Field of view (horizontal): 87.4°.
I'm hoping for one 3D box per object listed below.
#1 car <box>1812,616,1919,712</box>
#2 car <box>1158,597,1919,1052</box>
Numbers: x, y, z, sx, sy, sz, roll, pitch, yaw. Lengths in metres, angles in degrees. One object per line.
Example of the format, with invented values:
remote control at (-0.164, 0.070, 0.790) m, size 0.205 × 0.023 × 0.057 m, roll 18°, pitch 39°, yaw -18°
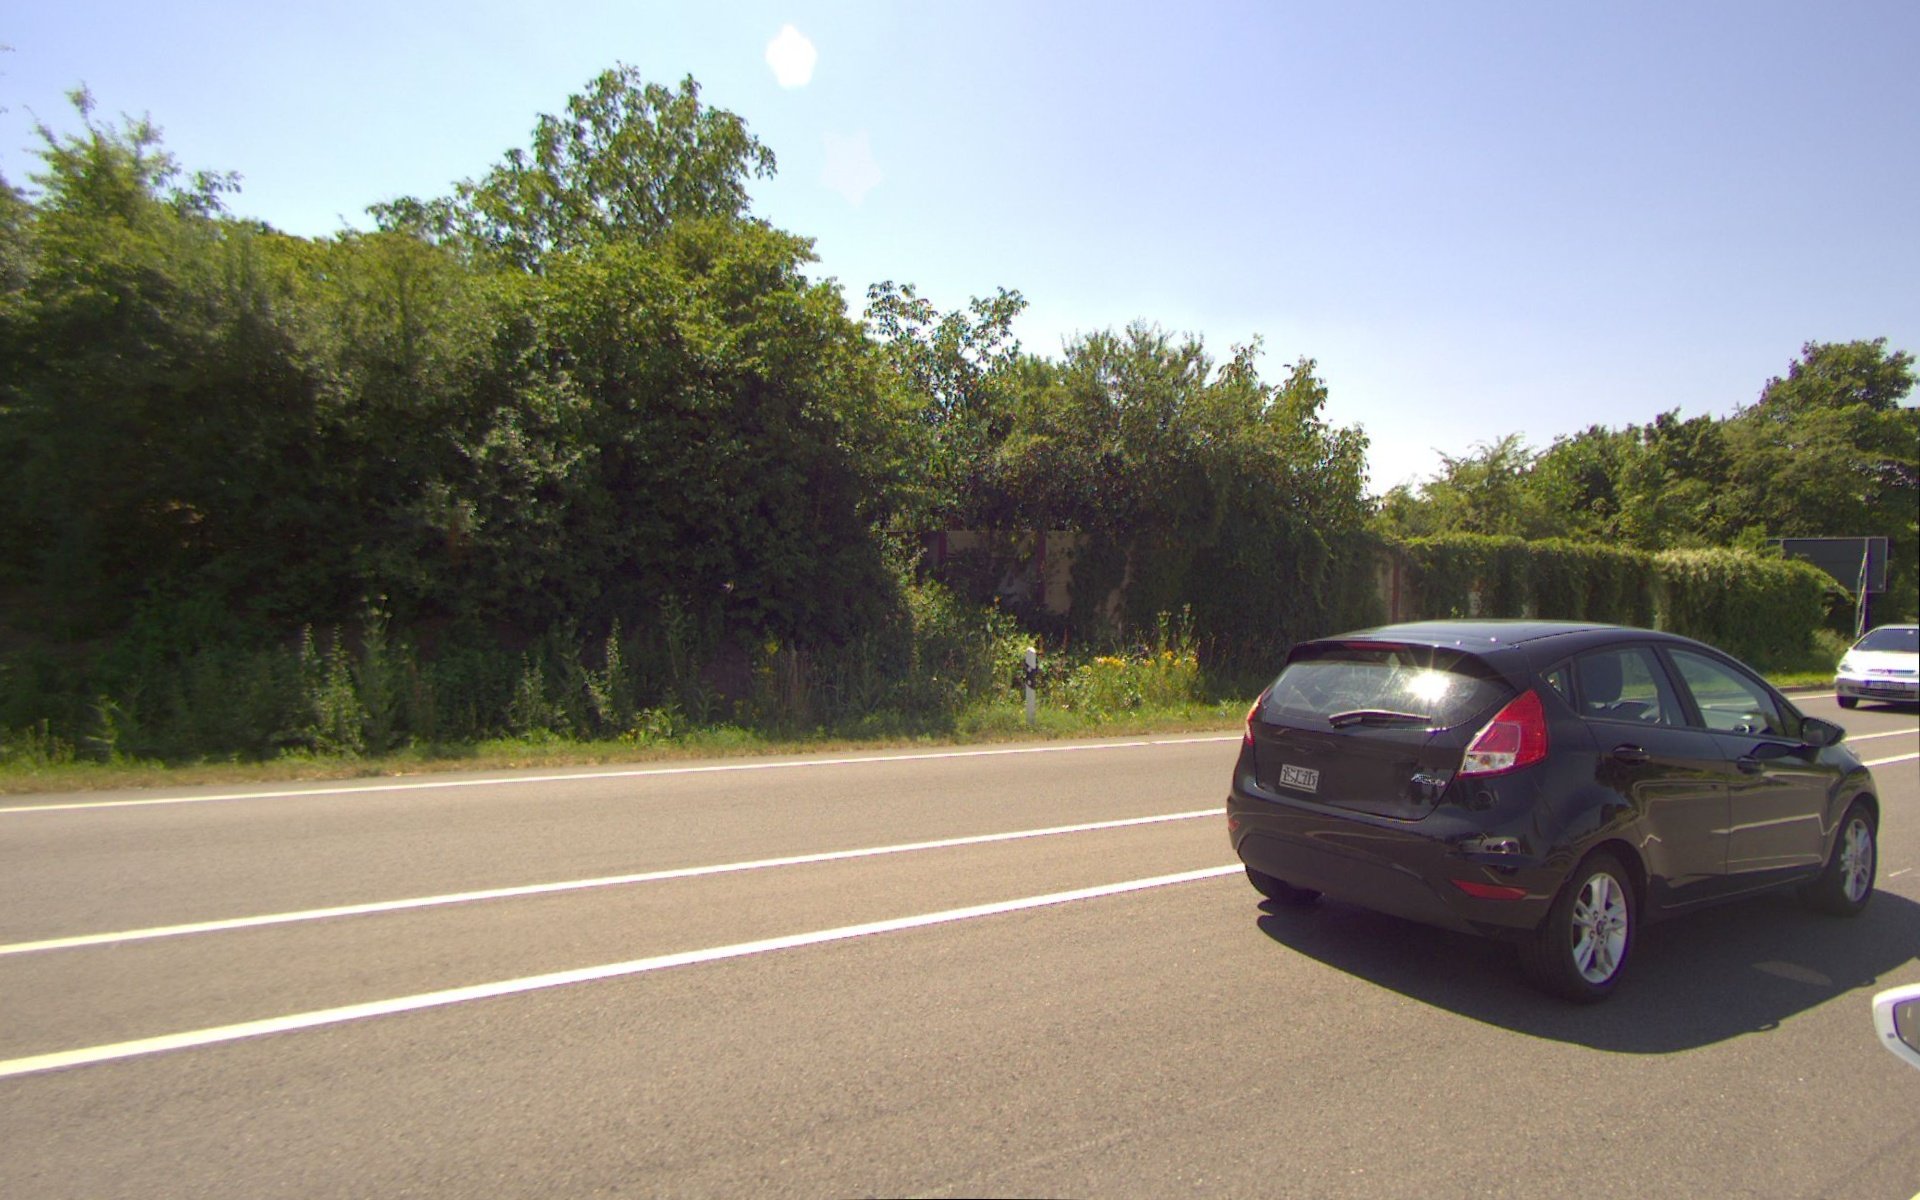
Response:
car at (18.306, 1.161, 19.248) m, size 4.767 × 1.614 × 1.825 m, roll 1°, pitch 1°, yaw -35°
car at (3.145, 0.763, 5.160) m, size 4.159 × 1.514 × 1.644 m, roll 0°, pitch 1°, yaw -31°
